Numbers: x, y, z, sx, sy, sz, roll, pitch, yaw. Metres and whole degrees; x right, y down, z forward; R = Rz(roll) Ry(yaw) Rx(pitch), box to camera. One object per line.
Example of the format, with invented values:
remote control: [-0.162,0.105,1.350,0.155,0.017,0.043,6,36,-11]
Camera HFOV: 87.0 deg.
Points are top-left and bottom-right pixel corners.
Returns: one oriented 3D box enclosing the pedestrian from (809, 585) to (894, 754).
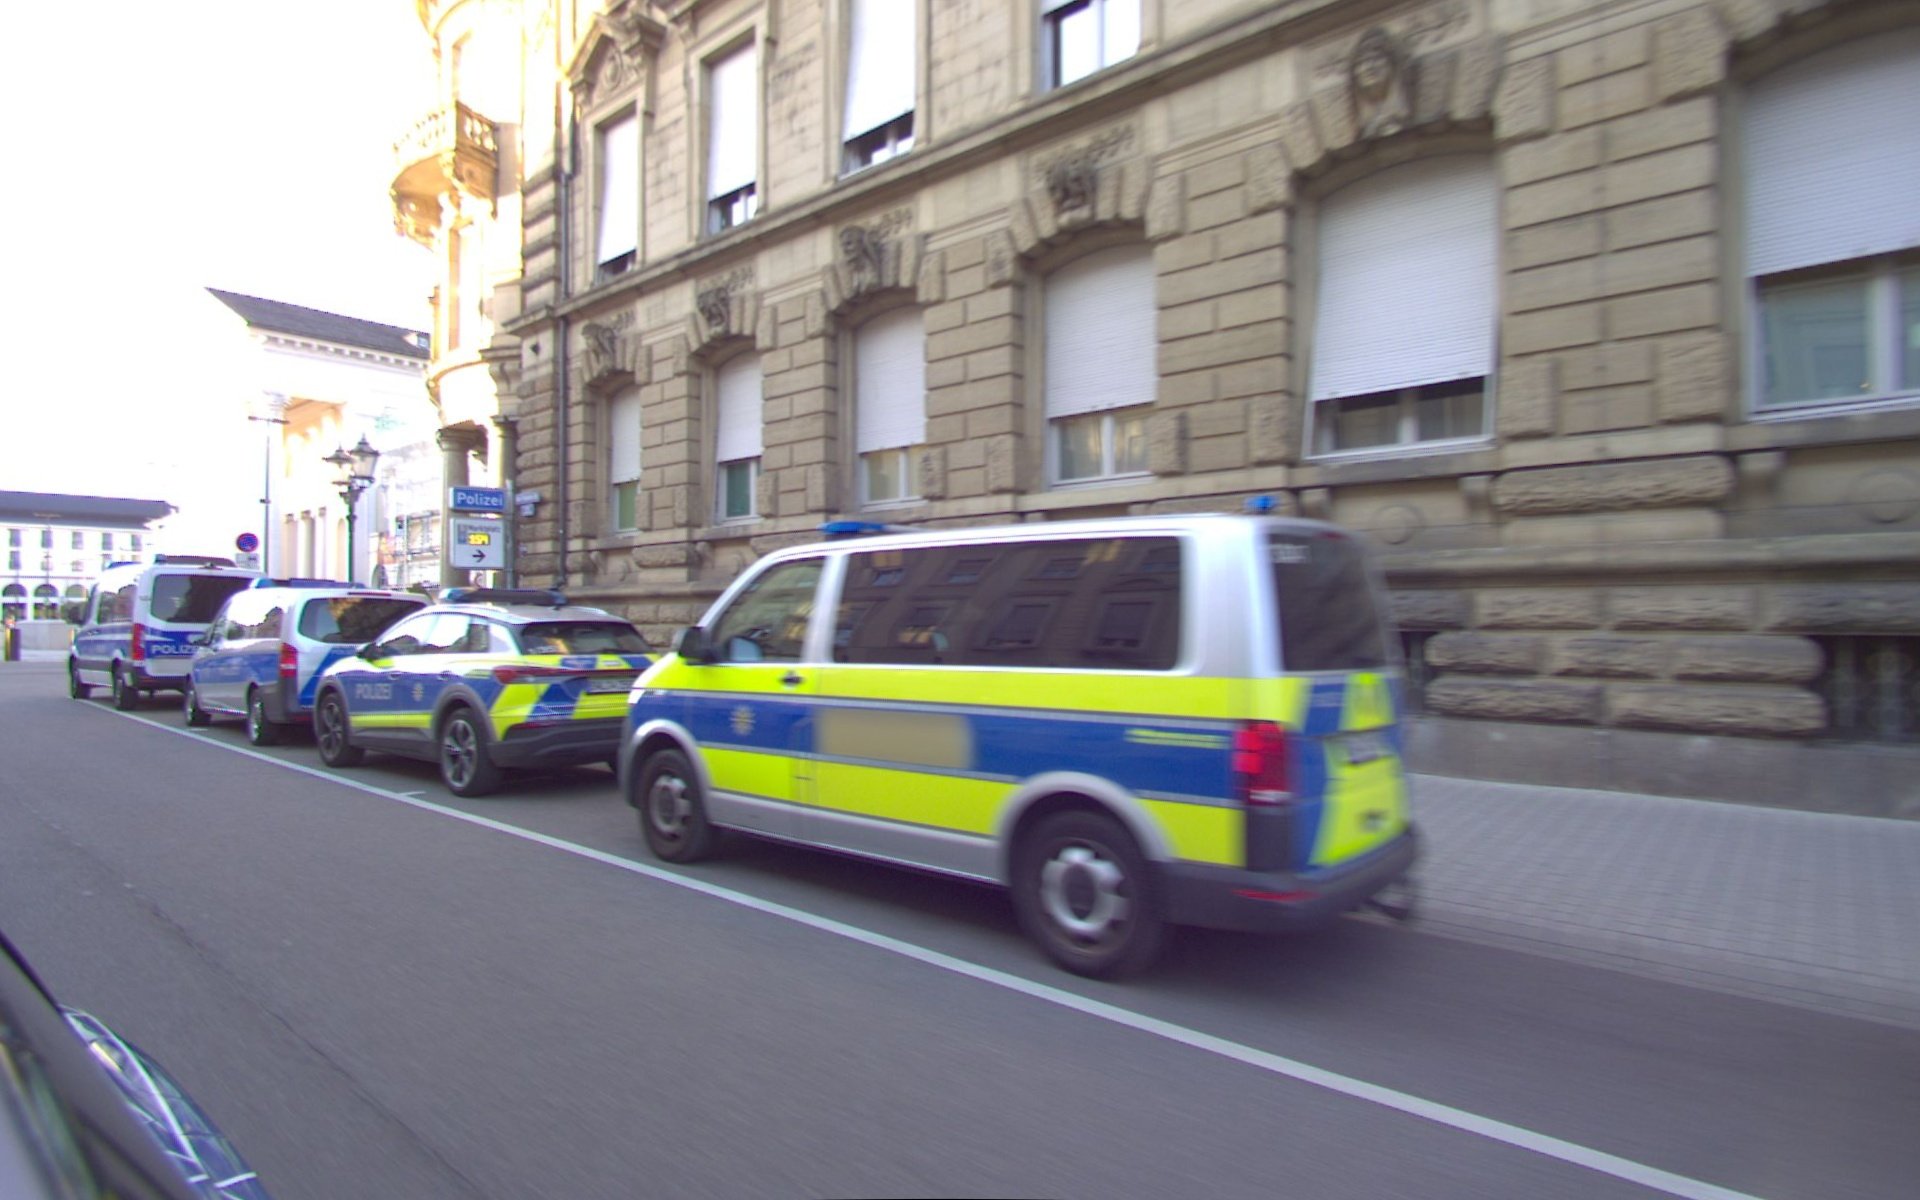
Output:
pedestrian: [-1.165,0.722,10.854,0.744,1.743,0.567,-1,-2,42]

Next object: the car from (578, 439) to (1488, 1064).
car: [0.032,0.523,5.769,4.986,2.093,1.973,0,-1,40]

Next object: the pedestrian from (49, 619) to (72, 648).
pedestrian: [-59.377,2.206,66.804,0.881,1.926,1.077,-1,-2,44]

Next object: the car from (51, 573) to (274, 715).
car: [-14.272,0.727,17.994,5.200,2.188,1.974,-1,-2,39]

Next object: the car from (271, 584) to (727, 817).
car: [-4.710,0.805,9.999,4.982,1.765,1.975,-1,-2,37]

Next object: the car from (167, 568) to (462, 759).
car: [-8.815,0.743,13.594,5.205,2.103,1.972,-1,-2,42]
